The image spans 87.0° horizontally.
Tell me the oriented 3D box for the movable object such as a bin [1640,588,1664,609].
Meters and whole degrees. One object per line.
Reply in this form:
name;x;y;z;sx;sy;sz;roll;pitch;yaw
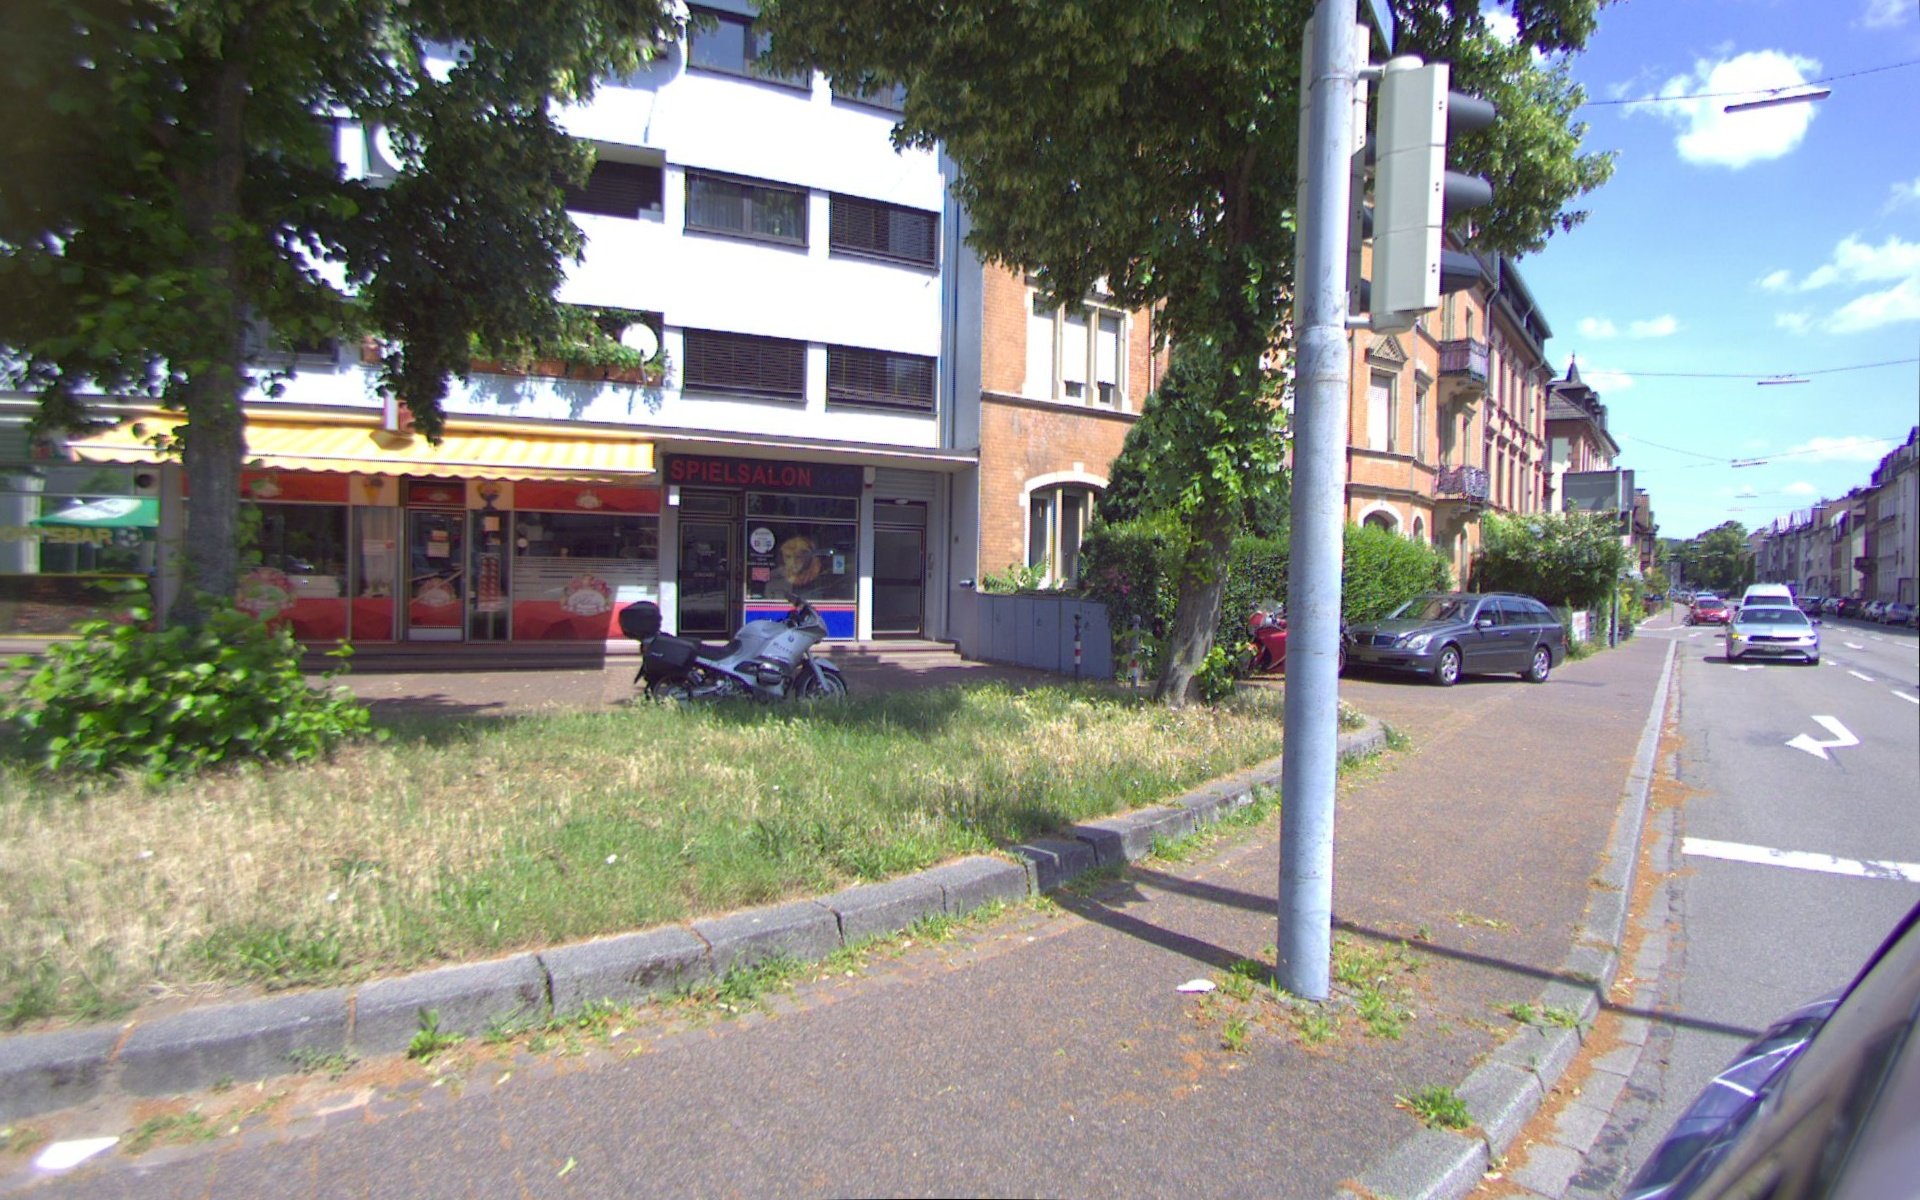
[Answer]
movable object such as a bin;48.447;-0.104;70.821;1.279;1.413;1.394;2;2;38

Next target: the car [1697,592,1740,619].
car;43.736;0.317;58.407;1.750;1.497;3.739;-1;0;33

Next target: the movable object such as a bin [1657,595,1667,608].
movable object such as a bin;52.081;0.088;75.084;0.623;0.940;0.604;2;1;36

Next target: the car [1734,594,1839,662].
car;20.923;0.627;25.691;1.897;1.516;4.424;1;1;39

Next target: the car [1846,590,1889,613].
car;71.464;0.149;79.679;3.880;1.607;1.750;1;4;-38

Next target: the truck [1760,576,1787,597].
truck;112.409;-1.922;139.968;2.310;2.774;7.967;2;2;35

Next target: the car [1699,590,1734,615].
car;49.961;0.157;66.820;1.753;1.571;4.011;-1;0;37

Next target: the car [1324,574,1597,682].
car;8.583;0.458;17.182;5.056;1.568;1.841;2;1;-34

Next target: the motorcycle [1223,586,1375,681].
motorcycle;5.140;0.493;15.300;2.236;1.319;0.934;2;0;-32

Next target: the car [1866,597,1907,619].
car;67.882;0.548;74.225;1.742;1.427;3.862;6;4;37

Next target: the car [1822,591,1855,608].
car;85.506;-0.062;98.536;1.739;1.427;4.056;6;4;33

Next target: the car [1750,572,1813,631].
car;34.391;0.031;42.402;1.897;2.302;5.592;1;1;39

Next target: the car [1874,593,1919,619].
car;65.172;0.368;70.358;1.861;1.570;4.258;6;4;36

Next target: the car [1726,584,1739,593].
car;136.824;-2.052;179.326;1.699;1.497;3.880;-1;0;36

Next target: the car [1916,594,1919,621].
car;56.203;0.559;57.558;1.860;1.570;4.444;6;4;35

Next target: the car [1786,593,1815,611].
car;74.255;0.119;89.452;1.697;1.496;4.079;2;2;36

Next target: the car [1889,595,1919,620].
car;61.403;0.500;65.042;1.901;1.469;4.625;6;4;36

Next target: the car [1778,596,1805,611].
car;85.523;0.349;104.119;1.755;1.513;4.192;2;2;35

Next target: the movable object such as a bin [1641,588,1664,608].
movable object such as a bin;49.261;-0.145;71.958;1.279;1.413;1.346;2;2;38

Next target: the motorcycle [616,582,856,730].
motorcycle;-2.207;0.500;10.004;2.179;1.329;0.920;0;0;-24

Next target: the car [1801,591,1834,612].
car;68.134;0.096;80.431;1.697;1.594;4.255;2;2;36
